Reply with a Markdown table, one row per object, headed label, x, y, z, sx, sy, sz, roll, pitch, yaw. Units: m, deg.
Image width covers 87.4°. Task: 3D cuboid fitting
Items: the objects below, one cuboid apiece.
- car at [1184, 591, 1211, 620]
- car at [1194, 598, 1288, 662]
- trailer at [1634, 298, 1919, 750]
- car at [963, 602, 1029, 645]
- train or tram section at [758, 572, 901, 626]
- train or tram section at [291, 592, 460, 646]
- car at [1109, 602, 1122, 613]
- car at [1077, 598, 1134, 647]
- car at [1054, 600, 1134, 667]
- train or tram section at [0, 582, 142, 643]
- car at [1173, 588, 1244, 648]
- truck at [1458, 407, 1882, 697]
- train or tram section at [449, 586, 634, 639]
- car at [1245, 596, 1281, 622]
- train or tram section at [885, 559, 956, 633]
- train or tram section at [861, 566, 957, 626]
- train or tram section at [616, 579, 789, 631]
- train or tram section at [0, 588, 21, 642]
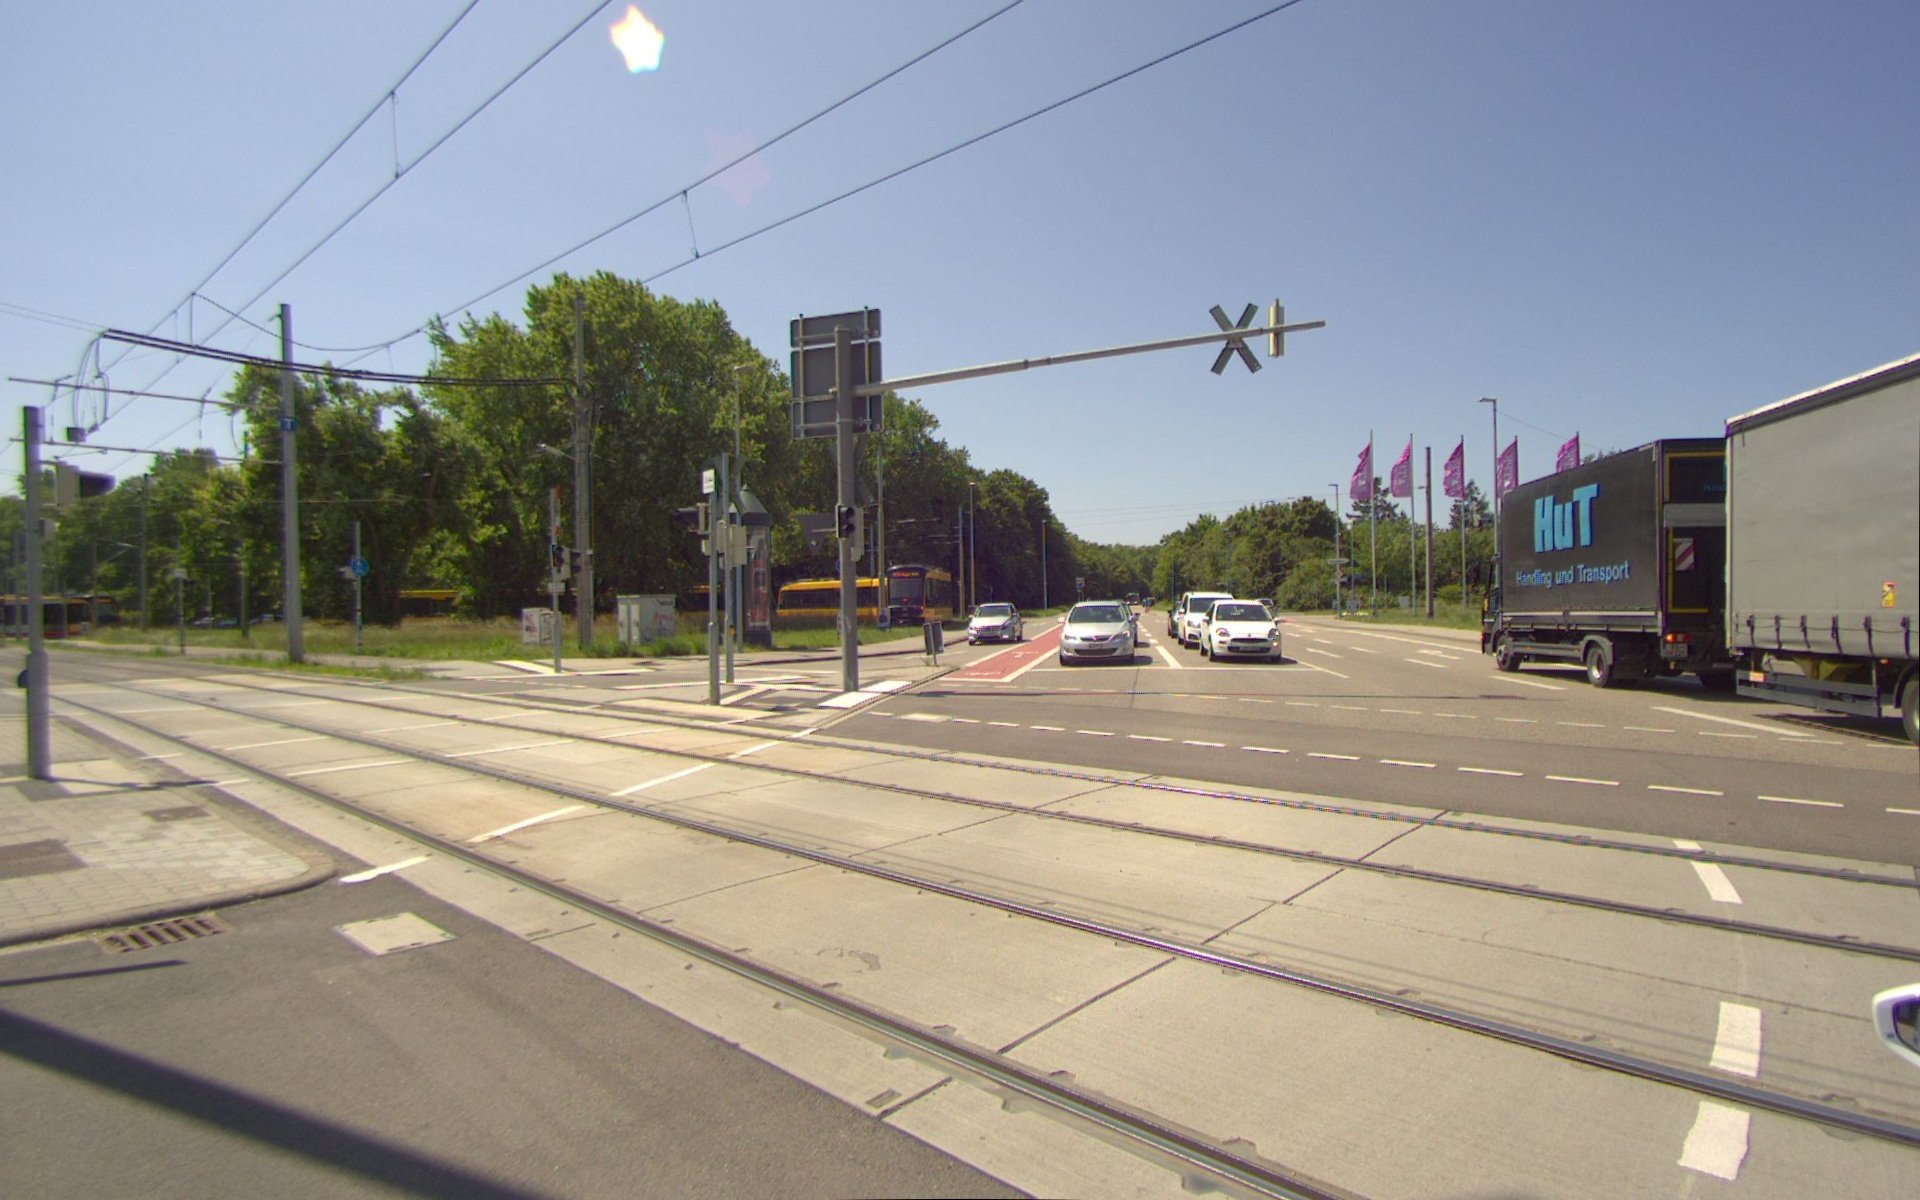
| label | x | y | z | sx | sy | sz | roll | pitch | yaw |
| --- | --- | --- | --- | --- | --- | --- | --- | --- | --- |
| car | 16.951 | 0.379 | 71.766 | 1.627 | 1.932 | 4.002 | -1 | 0 | 11 |
| car | 6.897 | 0.680 | 25.029 | 1.737 | 1.457 | 3.963 | 0 | 0 | 8 |
| trailer | 10.491 | -0.700 | 9.974 | 3.025 | 4.124 | 9.813 | 0 | 0 | 13 |
| car | 1.475 | 0.888 | 39.799 | 1.712 | 1.567 | 4.259 | -2 | 0 | 14 |
| train or tram section | -10.734 | 0.009 | 80.682 | 13.846 | 3.809 | 3.009 | -2 | 0 | 42 |
| train or tram section | -46.943 | 1.488 | 81.158 | 11.267 | 3.809 | 3.012 | -2 | 0 | -20 |
| car | 20.704 | 0.976 | 133.438 | 1.594 | 1.475 | 3.503 | -2 | 0 | 9 |
| car | 4.799 | 0.687 | 33.197 | 1.730 | 1.476 | 4.288 | -1 | 0 | 8 |
| car | 3.387 | 0.755 | 24.844 | 1.760 | 1.475 | 4.415 | -1 | 0 | 10 |
| train or tram section | -71.398 | 1.013 | 79.445 | 12.492 | 4.311 | 3.027 | -2 | 0 | 11 |
| car | 7.751 | 0.510 | 31.697 | 1.781 | 1.746 | 4.833 | 0 | 0 | 9 |
| truck | 12.168 | -0.697 | 18.459 | 3.024 | 4.124 | 7.963 | 0 | 0 | 8 |
| train or tram section | -35.096 | 1.018 | 84.885 | 13.953 | 3.809 | 3.017 | -2 | 0 | -14 |
| car | 19.990 | 0.573 | 66.166 | 1.809 | 1.654 | 3.997 | -1 | 0 | 23 |
| train or tram section | -2.124 | -0.245 | 59.787 | 2.965 | 3.809 | 12.997 | -2 | 0 | 3 |
| train or tram section | -3.843 | -0.212 | 71.003 | 2.982 | 3.809 | 11.555 | -2 | 0 | -23 |
| train or tram section | -21.957 | 0.454 | 85.946 | 13.908 | 3.809 | 3.027 | -2 | 0 | 5 |
| train or tram section | -82.818 | 1.430 | 83.162 | 12.512 | 4.311 | 3.022 | -2 | 0 | 26 |
